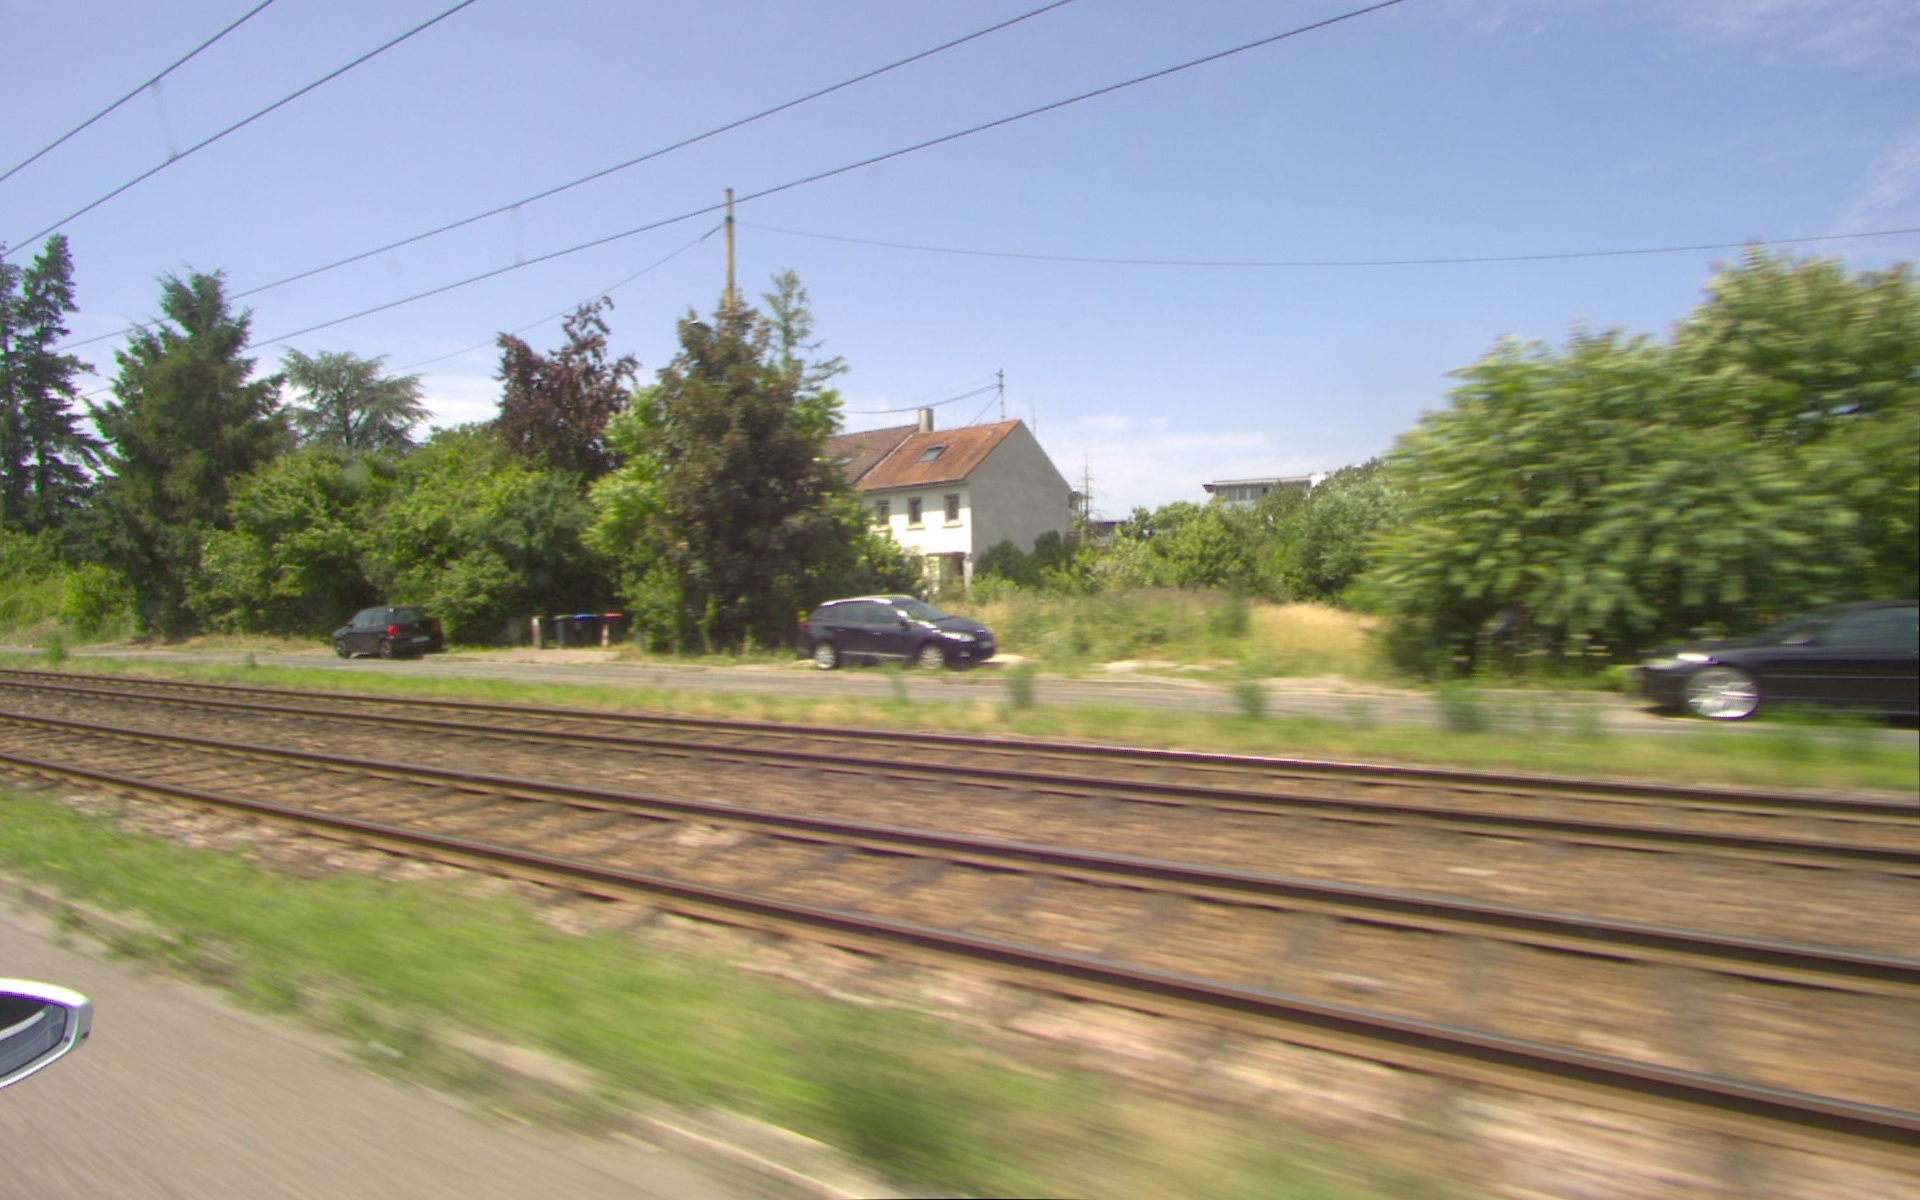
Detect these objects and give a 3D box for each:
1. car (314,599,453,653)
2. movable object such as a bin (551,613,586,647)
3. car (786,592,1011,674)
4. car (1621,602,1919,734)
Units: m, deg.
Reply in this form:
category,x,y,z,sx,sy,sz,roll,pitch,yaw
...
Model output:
category,x,y,z,sx,sy,sz,roll,pitch,yaw
car,-16.892,0.737,29.308,3.943,1.490,1.910,-1,0,33
movable object such as a bin,-11.325,0.865,28.959,0.612,0.950,0.722,0,0,32
car,-1.350,0.667,21.402,4.488,1.581,1.932,-1,0,30
car,10.133,0.710,11.197,4.447,1.348,1.858,-1,0,30
